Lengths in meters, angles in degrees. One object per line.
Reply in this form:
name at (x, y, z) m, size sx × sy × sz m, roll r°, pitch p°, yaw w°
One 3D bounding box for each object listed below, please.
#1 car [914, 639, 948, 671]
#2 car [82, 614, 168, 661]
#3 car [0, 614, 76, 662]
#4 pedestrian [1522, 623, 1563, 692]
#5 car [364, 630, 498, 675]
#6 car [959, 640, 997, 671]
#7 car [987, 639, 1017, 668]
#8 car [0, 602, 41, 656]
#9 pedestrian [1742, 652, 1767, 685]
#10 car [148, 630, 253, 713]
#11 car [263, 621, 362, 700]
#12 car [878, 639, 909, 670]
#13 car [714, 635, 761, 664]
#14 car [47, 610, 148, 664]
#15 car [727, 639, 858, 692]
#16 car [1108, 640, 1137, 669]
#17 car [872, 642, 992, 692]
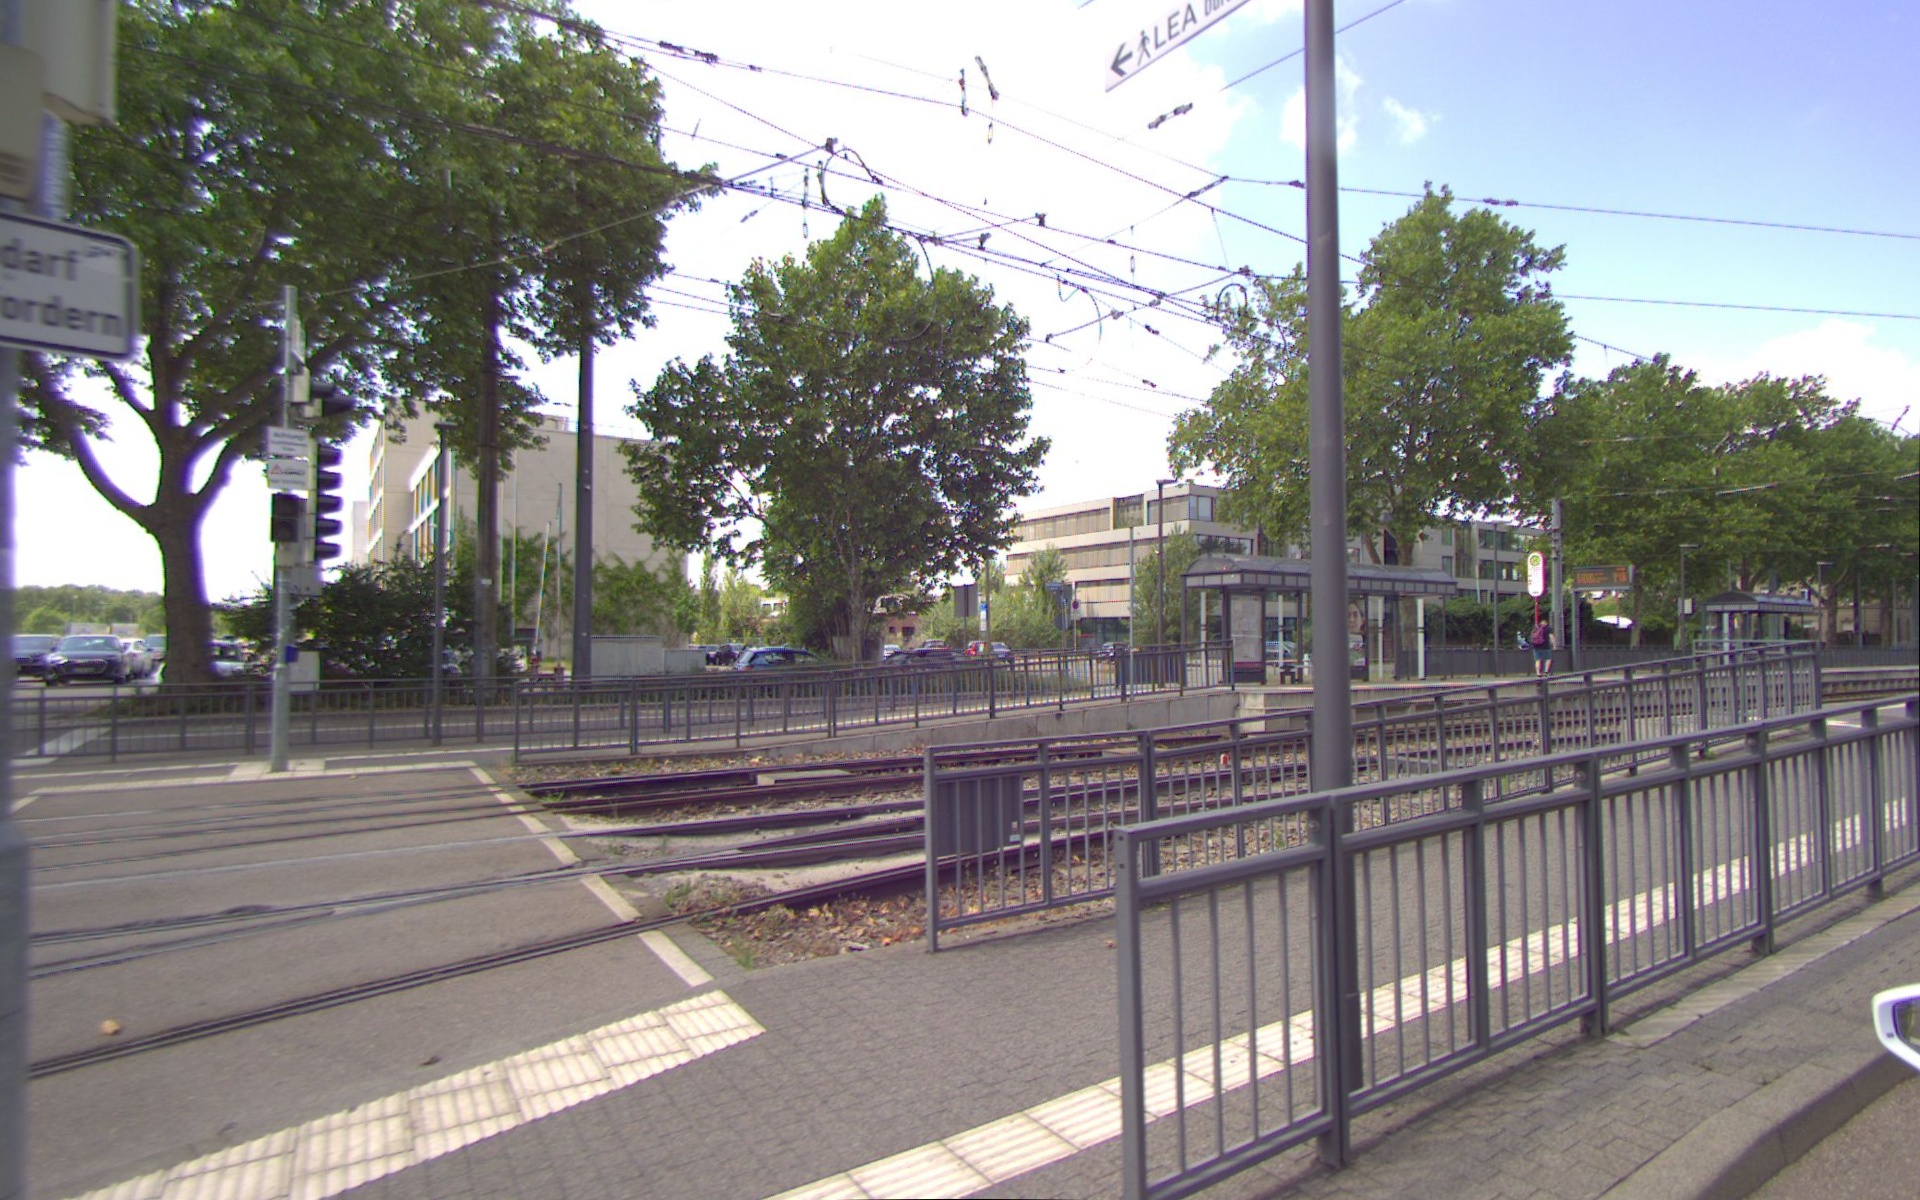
car at (-1.994, 3.738, 67.869) m, size 1.962 × 2.039 × 4.438 m, roll 1°, pitch -4°, yaw -5°
car at (-29.814, 1.318, 35.989) m, size 1.758 × 1.446 × 3.965 m, roll 3°, pitch 0°, yaw -32°
car at (-32.427, 1.285, 34.972) m, size 1.758 × 1.446 × 3.965 m, roll 3°, pitch 0°, yaw -32°
pedestrian at (16.274, 1.593, 28.065) m, size 0.856 × 1.869 × 0.702 m, roll 1°, pitch -2°, yaw -34°
car at (-18.459, 1.845, 35.099) m, size 3.959 × 1.495 × 1.787 m, roll 3°, pitch -3°, yaw -34°
car at (1.190, 3.799, 68.320) m, size 1.963 × 2.039 × 4.436 m, roll 1°, pitch -4°, yaw -6°
car at (3.123, 3.910, 74.055) m, size 1.959 × 2.040 × 4.003 m, roll 0°, pitch -2°, yaw 7°
car at (-29.476, 0.827, 30.321) m, size 1.758 × 1.446 × 3.965 m, roll 3°, pitch 0°, yaw -32°
pedestrian at (31.526, 2.709, 39.857) m, size 0.759 × 1.286 × 0.550 m, roll 2°, pitch -2°, yaw -32°
car at (-17.932, 1.642, 23.838) m, size 1.786 × 1.772 × 3.960 m, roll 2°, pitch -3°, yaw -36°
car at (-15.916, 1.447, 24.608) m, size 1.786 × 1.772 × 3.960 m, roll 2°, pitch -3°, yaw -36°
car at (-4.494, 3.699, 67.649) m, size 1.962 × 2.039 × 4.438 m, roll 1°, pitch -4°, yaw -5°
car at (-14.752, 3.294, 66.492) m, size 1.741 × 1.837 × 4.011 m, roll 3°, pitch -5°, yaw -33°
car at (-27.129, 1.132, 31.728) m, size 1.758 × 1.446 × 3.965 m, roll 3°, pitch 0°, yaw -32°
car at (-5.138, 1.979, 30.828) m, size 3.610 × 1.554 × 1.683 m, roll 2°, pitch -3°, yaw -30°
car at (11.933, 3.980, 73.881) m, size 1.959 × 2.040 × 4.003 m, roll 0°, pitch -2°, yaw 7°
car at (-0.906, 2.171, 33.110) m, size 3.610 × 1.554 × 1.683 m, roll 2°, pitch -3°, yaw -30°
